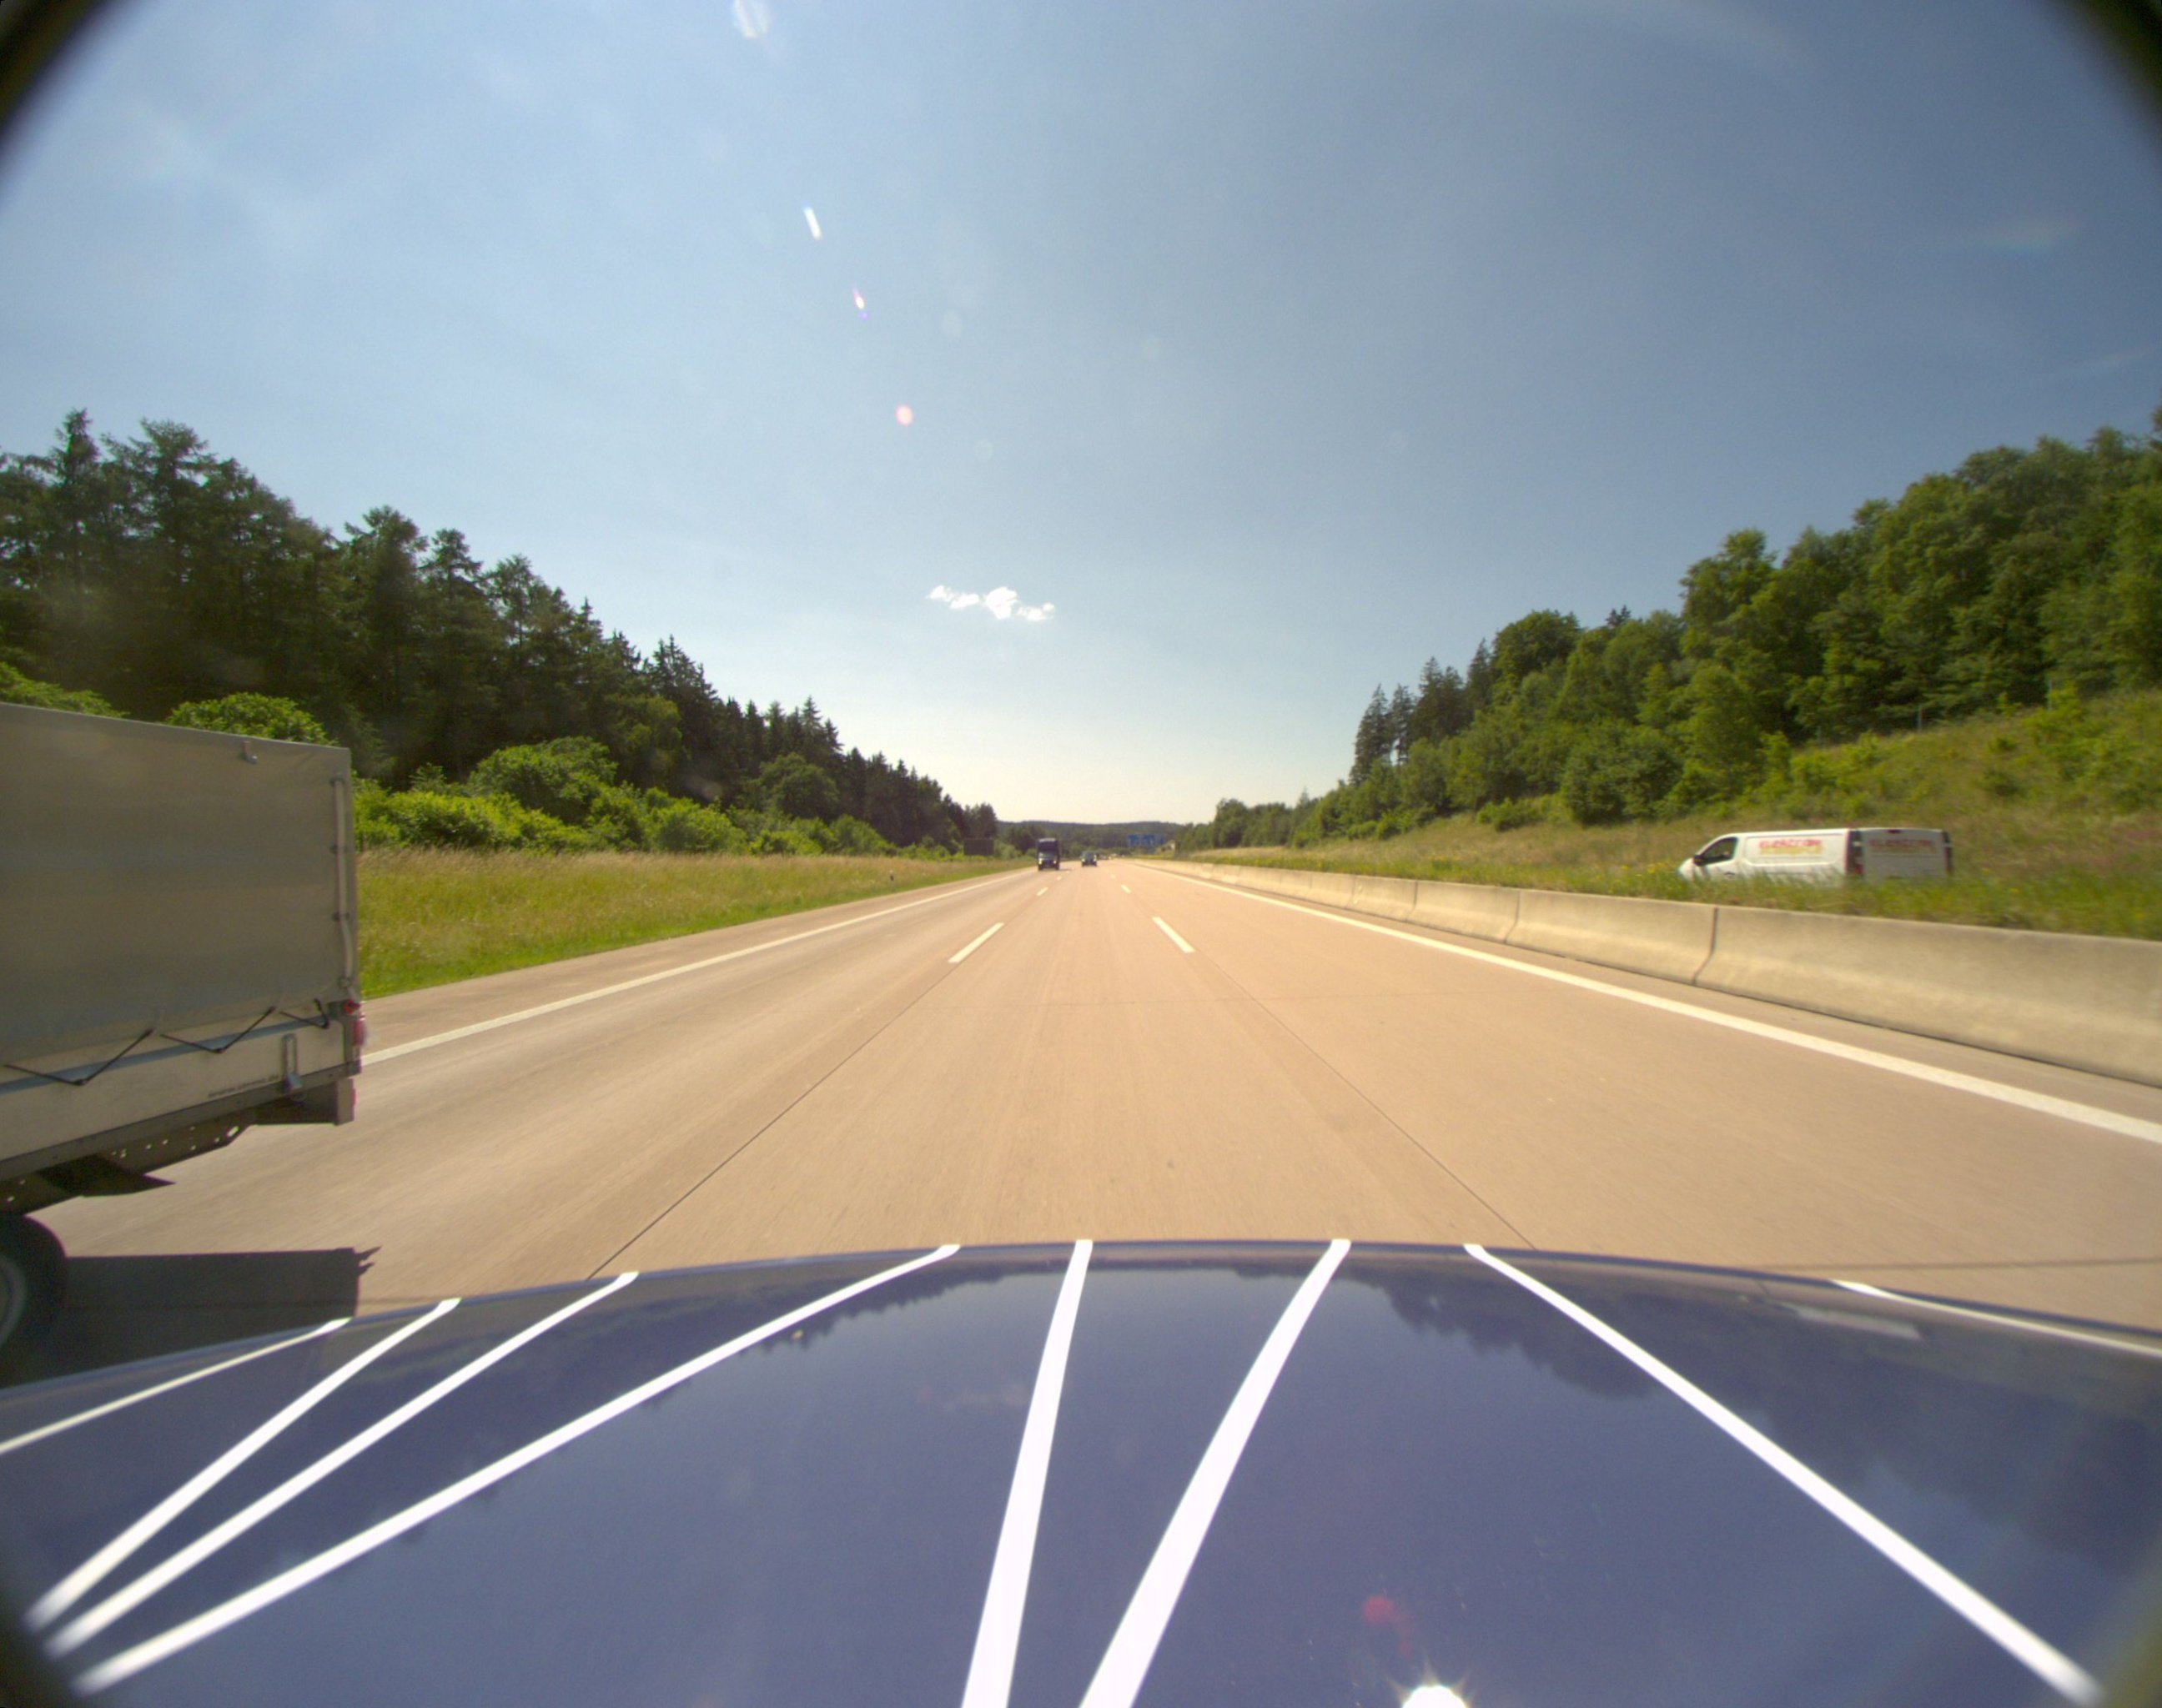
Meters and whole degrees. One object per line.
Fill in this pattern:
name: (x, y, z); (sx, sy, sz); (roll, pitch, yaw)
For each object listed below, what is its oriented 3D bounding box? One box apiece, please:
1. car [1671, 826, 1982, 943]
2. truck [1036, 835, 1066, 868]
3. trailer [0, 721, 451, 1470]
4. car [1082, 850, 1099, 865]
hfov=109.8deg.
car: (15.268, 0.565, 16.044); (1.896, 2.052, 4.663); (-2, 0, -1)
truck: (-3.087, -0.224, 79.524); (2.508, 3.199, 7.785); (-2, 0, 2)
trailer: (-3.957, 0.711, 1.700); (1.662, 2.151, 4.016); (-2, 0, 0)
car: (1.208, 0.424, 96.686); (1.998, 1.805, 4.565); (-2, 0, 3)
